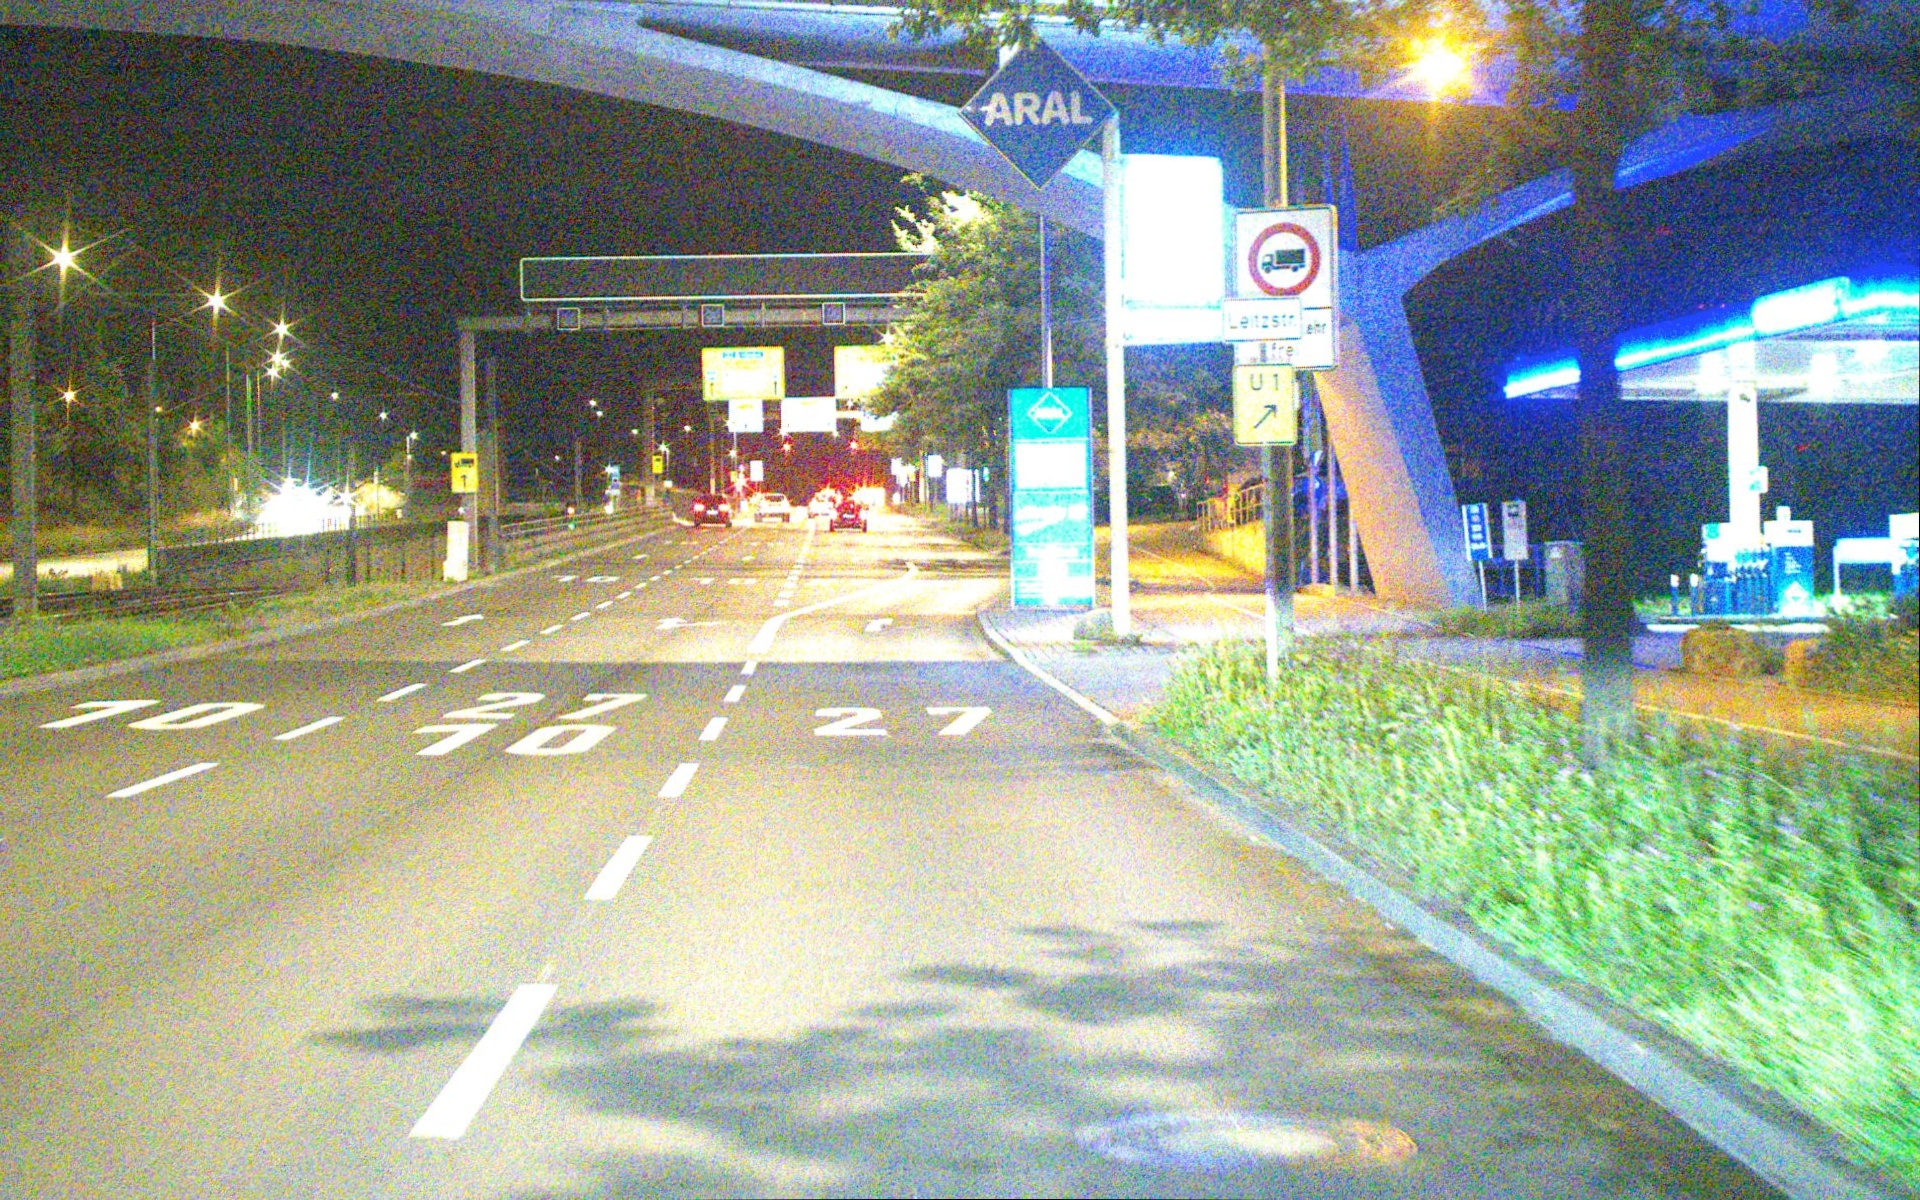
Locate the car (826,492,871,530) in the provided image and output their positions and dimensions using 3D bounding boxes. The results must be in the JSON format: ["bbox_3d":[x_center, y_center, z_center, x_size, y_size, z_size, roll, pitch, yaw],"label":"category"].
[{"bbox_3d":[-5.223,-4.172,161.683,1.968,1.705,4.000,1,0,0],"label":"car"}]

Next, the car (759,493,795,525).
[{"bbox_3d":[-10.385,-5.147,195.315,1.782,1.705,4.000,1,0,0],"label":"car"}]

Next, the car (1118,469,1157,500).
[{"bbox_3d":[9.232,-5.993,178.436,1.893,1.506,3.635,1,0,5],"label":"car"}]

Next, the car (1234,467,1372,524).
[{"bbox_3d":[9.991,-3.049,100.399,3.724,1.484,1.742,-2,0,-3],"label":"car"}]

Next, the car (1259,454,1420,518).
[{"bbox_3d":[10.293,-3.095,93.389,4.119,1.517,1.822,-2,0,0],"label":"car"}]

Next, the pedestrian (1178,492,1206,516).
[{"bbox_3d":[10.059,-4.154,148.956,0.997,1.004,0.772,1,0,-17],"label":"pedestrian"}]

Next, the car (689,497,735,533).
[{"bbox_3d":[-12.303,-4.207,170.718,1.968,1.705,4.000,1,0,0],"label":"car"}]

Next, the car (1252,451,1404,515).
[{"bbox_3d":[10.242,-3.259,95.773,3.987,1.566,1.738,-3,0,0],"label":"car"}]
